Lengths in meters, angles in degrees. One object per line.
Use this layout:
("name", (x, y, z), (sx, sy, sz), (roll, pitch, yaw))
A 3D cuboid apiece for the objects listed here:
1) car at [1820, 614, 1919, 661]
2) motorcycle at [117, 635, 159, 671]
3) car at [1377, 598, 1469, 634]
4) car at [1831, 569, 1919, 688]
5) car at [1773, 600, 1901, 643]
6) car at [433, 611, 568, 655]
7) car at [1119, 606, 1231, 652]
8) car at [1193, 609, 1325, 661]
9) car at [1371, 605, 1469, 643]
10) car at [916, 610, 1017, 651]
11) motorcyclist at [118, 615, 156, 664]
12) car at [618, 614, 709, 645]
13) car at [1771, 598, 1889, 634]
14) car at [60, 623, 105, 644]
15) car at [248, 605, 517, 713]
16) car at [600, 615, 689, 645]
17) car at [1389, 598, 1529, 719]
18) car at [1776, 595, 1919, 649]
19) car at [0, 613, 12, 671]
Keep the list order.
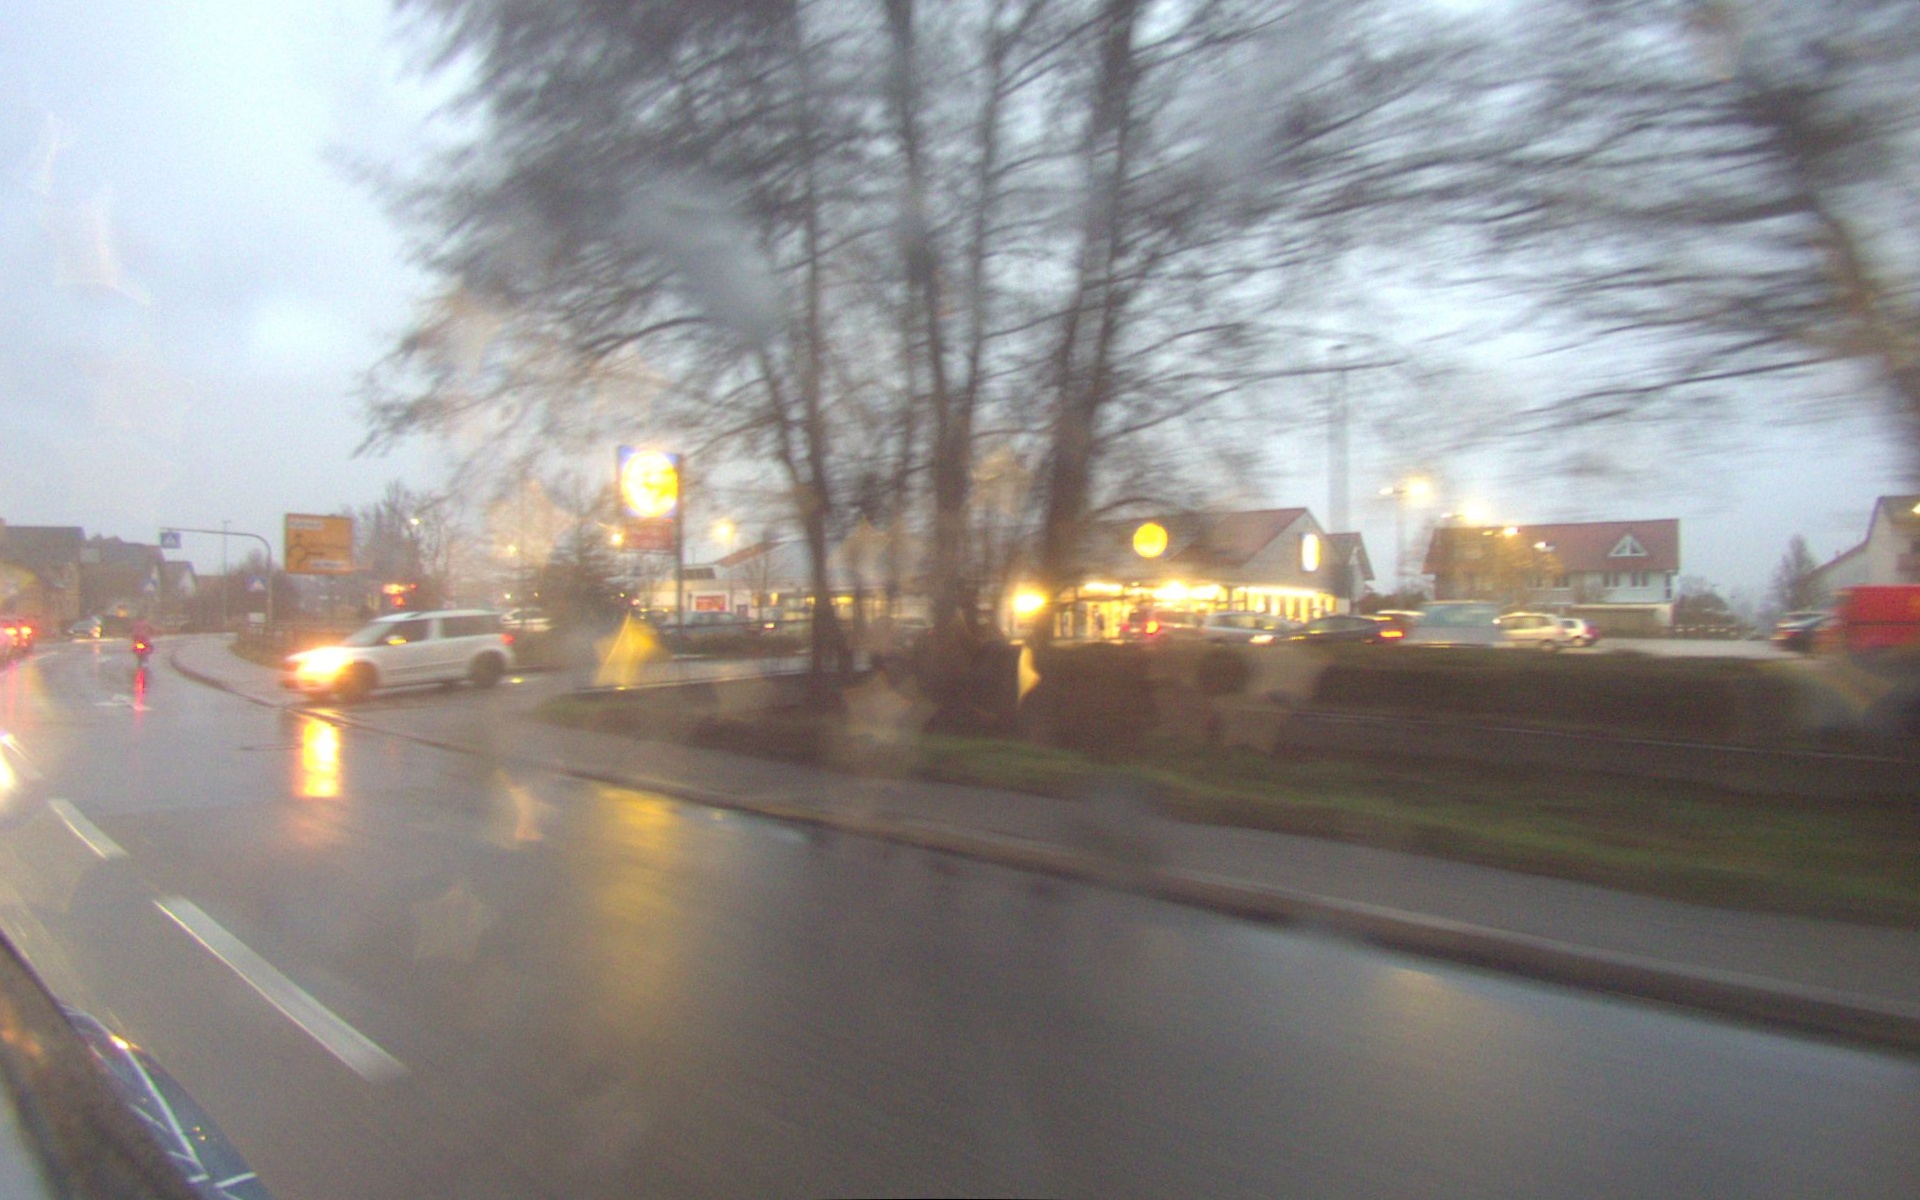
("car", (25.529, 0.996, 27.326), (3.387, 1.139, 1.546), (-3, 1, 37))
("motorcycle", (-25.877, 1.657, 31.835), (0.855, 1.031, 2.111), (0, 0, -44))
("car", (23.564, 0.800, 51.565), (3.987, 1.629, 1.897), (-3, -1, 32))
("car", (20.381, 0.470, 19.474), (5.260, 2.296, 2.259), (-3, 0, 37))
("car", (44.118, 1.105, 51.058), (4.654, 1.992, 2.101), (-3, 0, 37))
("car", (-18.903, 1.320, 41.829), (2.028, 1.725, 4.729), (-1, -1, 34))
("car", (8.568, 1.137, 40.197), (4.349, 1.684, 1.973), (0, -2, -37))
("car", (10.389, 1.224, 35.184), (3.987, 1.629, 1.897), (-3, -1, 32))
("car", (21.980, 1.141, 48.387), (3.987, 1.629, 1.897), (-3, -1, 32))
("car", (0.335, 1.301, 41.654), (2.051, 1.575, 4.391), (-2, -3, 35))
("motorcyclist", (-25.943, 1.235, 31.909), (0.855, 1.496, 0.909), (0, 0, -44))
("car", (-15.841, 1.633, 54.332), (2.051, 1.575, 4.391), (-2, -3, 35))
("car", (45.394, 0.850, 52.956), (4.511, 1.652, 1.914), (-3, 1, 37))
("car", (-63.080, 2.420, 72.833), (1.747, 1.441, 3.808), (-1, -1, -30))
("car", (-11.260, 1.049, 20.001), (1.896, 1.712, 4.188), (-1, 2, 36))
("car", (-17.391, 1.705, 55.986), (2.051, 1.575, 4.391), (-2, -3, 35))
("car", (9.877, 1.041, 19.829), (2.120, 1.992, 4.614), (-3, 0, 30))
("car", (28.937, 0.690, 32.088), (4.654, 1.581, 2.028), (-3, 0, 37))
("car", (-30.829, 1.305, 31.475), (1.749, 1.736, 4.428), (0, -1, -41))
